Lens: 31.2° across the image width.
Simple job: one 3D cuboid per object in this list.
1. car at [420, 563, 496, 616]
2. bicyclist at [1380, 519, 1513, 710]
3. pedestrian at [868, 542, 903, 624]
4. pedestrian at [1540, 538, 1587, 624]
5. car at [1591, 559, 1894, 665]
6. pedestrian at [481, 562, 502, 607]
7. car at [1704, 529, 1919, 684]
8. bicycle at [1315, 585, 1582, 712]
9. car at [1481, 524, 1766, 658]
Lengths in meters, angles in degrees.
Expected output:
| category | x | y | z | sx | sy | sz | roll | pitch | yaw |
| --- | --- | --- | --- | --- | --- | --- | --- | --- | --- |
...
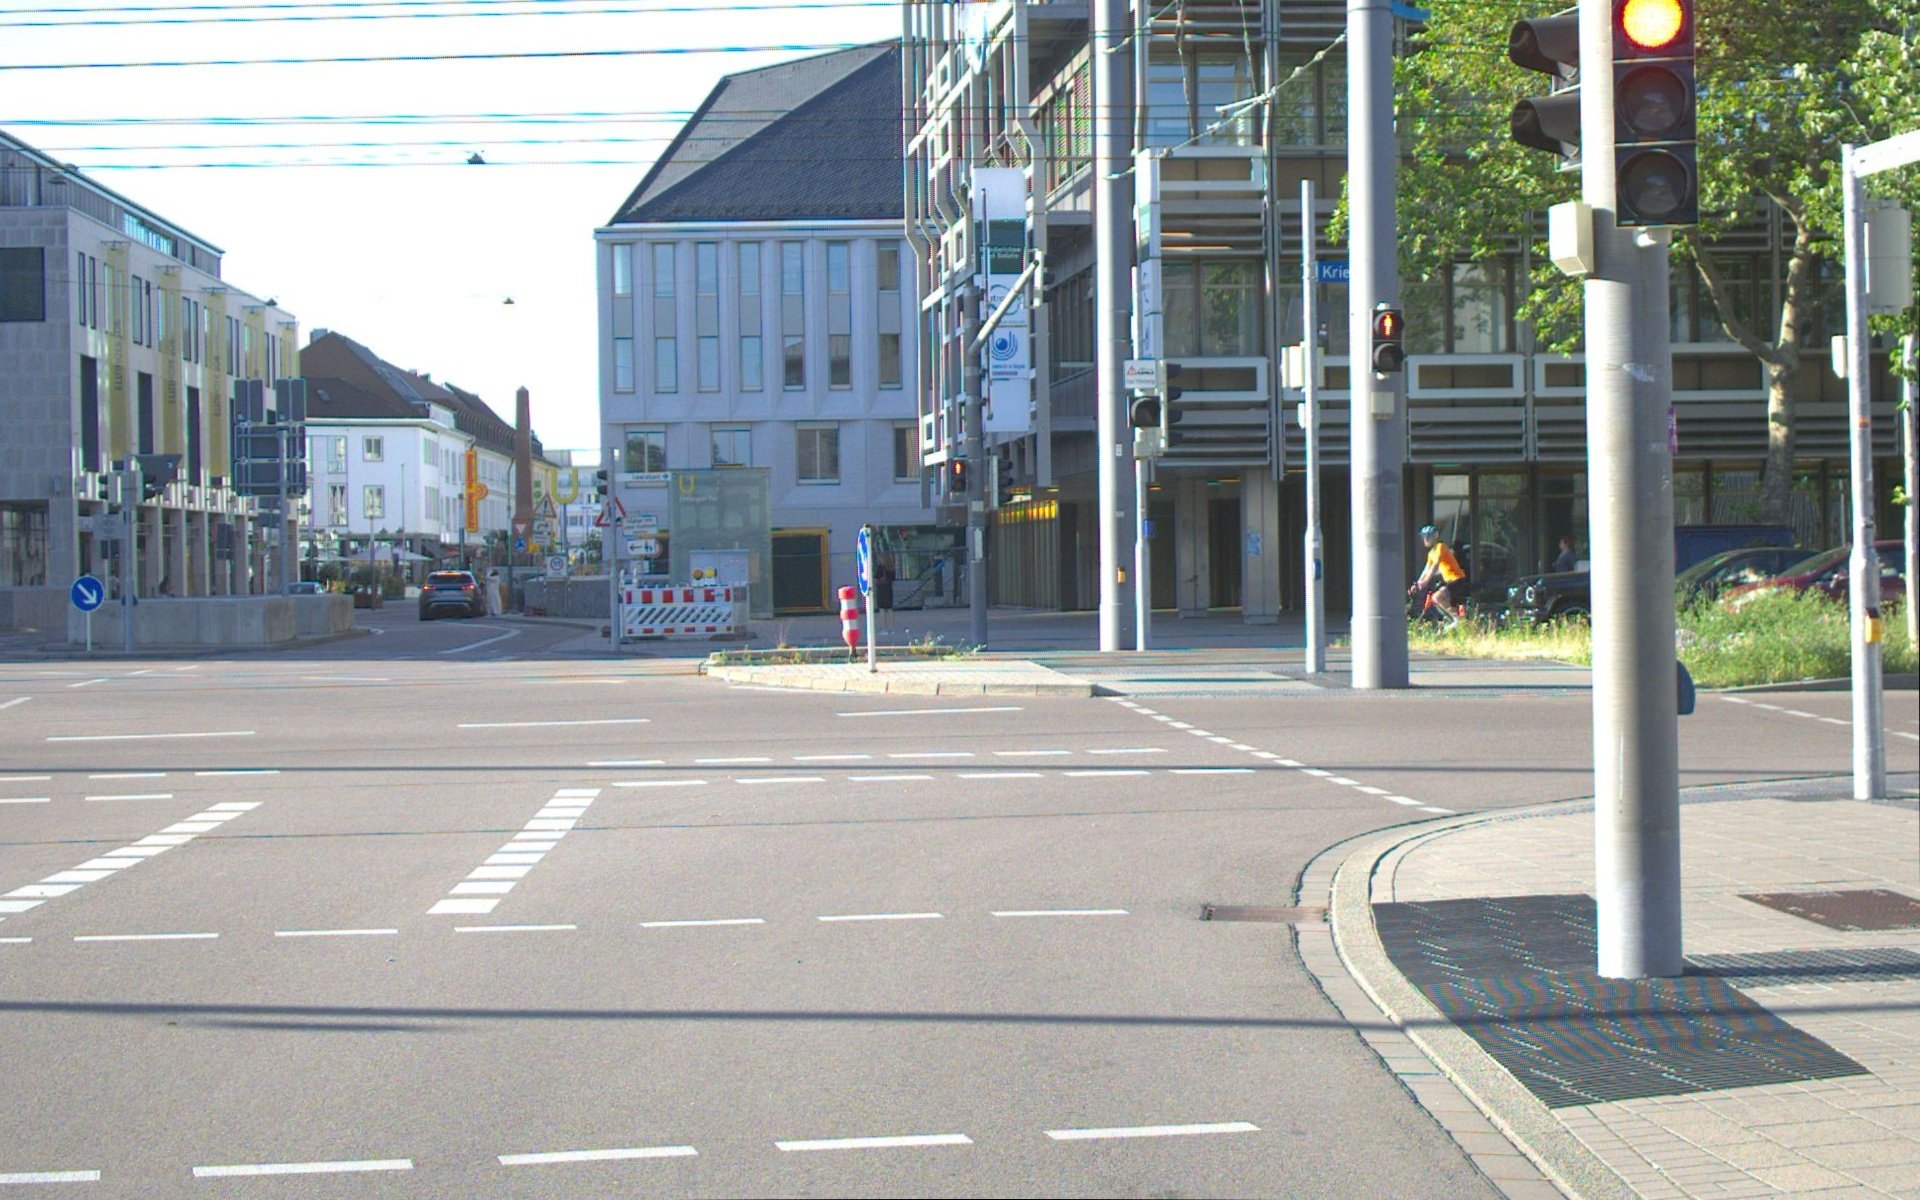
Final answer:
| category | x | y | z | sx | sy | sz | roll | pitch | yaw |
| --- | --- | --- | --- | --- | --- | --- | --- | --- | --- |
| car | -15.810 | -0.348 | 108.421 | 2.199 | 1.601 | 4.327 | -1 | 1 | -6 |
| bicyclist | 6.664 | 0.191 | 47.140 | 1.567 | 2.571 | 0.932 | -1 | 1 | -9 |
| pedestrian | -1.517 | -0.353 | 69.572 | 0.663 | 1.652 | 0.755 | -1 | 1 | -3 |
| pedestrian | 11.687 | -0.365 | 66.572 | 0.729 | 1.652 | 0.651 | -1 | 1 | -7 |
| car | 11.496 | 0.160 | 50.661 | 3.986 | 1.503 | 1.868 | 0 | 1 | -3 |
| pedestrian | -14.758 | -0.493 | 108.261 | 0.609 | 1.406 | 0.570 | -1 | 1 | -6 |
| car | 12.290 | 0.089 | 46.410 | 3.986 | 2.007 | 2.000 | 1 | 0 | -3 |
| bicycle | 6.696 | 0.651 | 47.147 | 3.490 | 1.653 | 0.932 | -1 | 1 | -9 |
| car | 10.347 | -0.141 | 53.778 | 3.986 | 2.007 | 2.000 | 1 | 0 | -3 |
